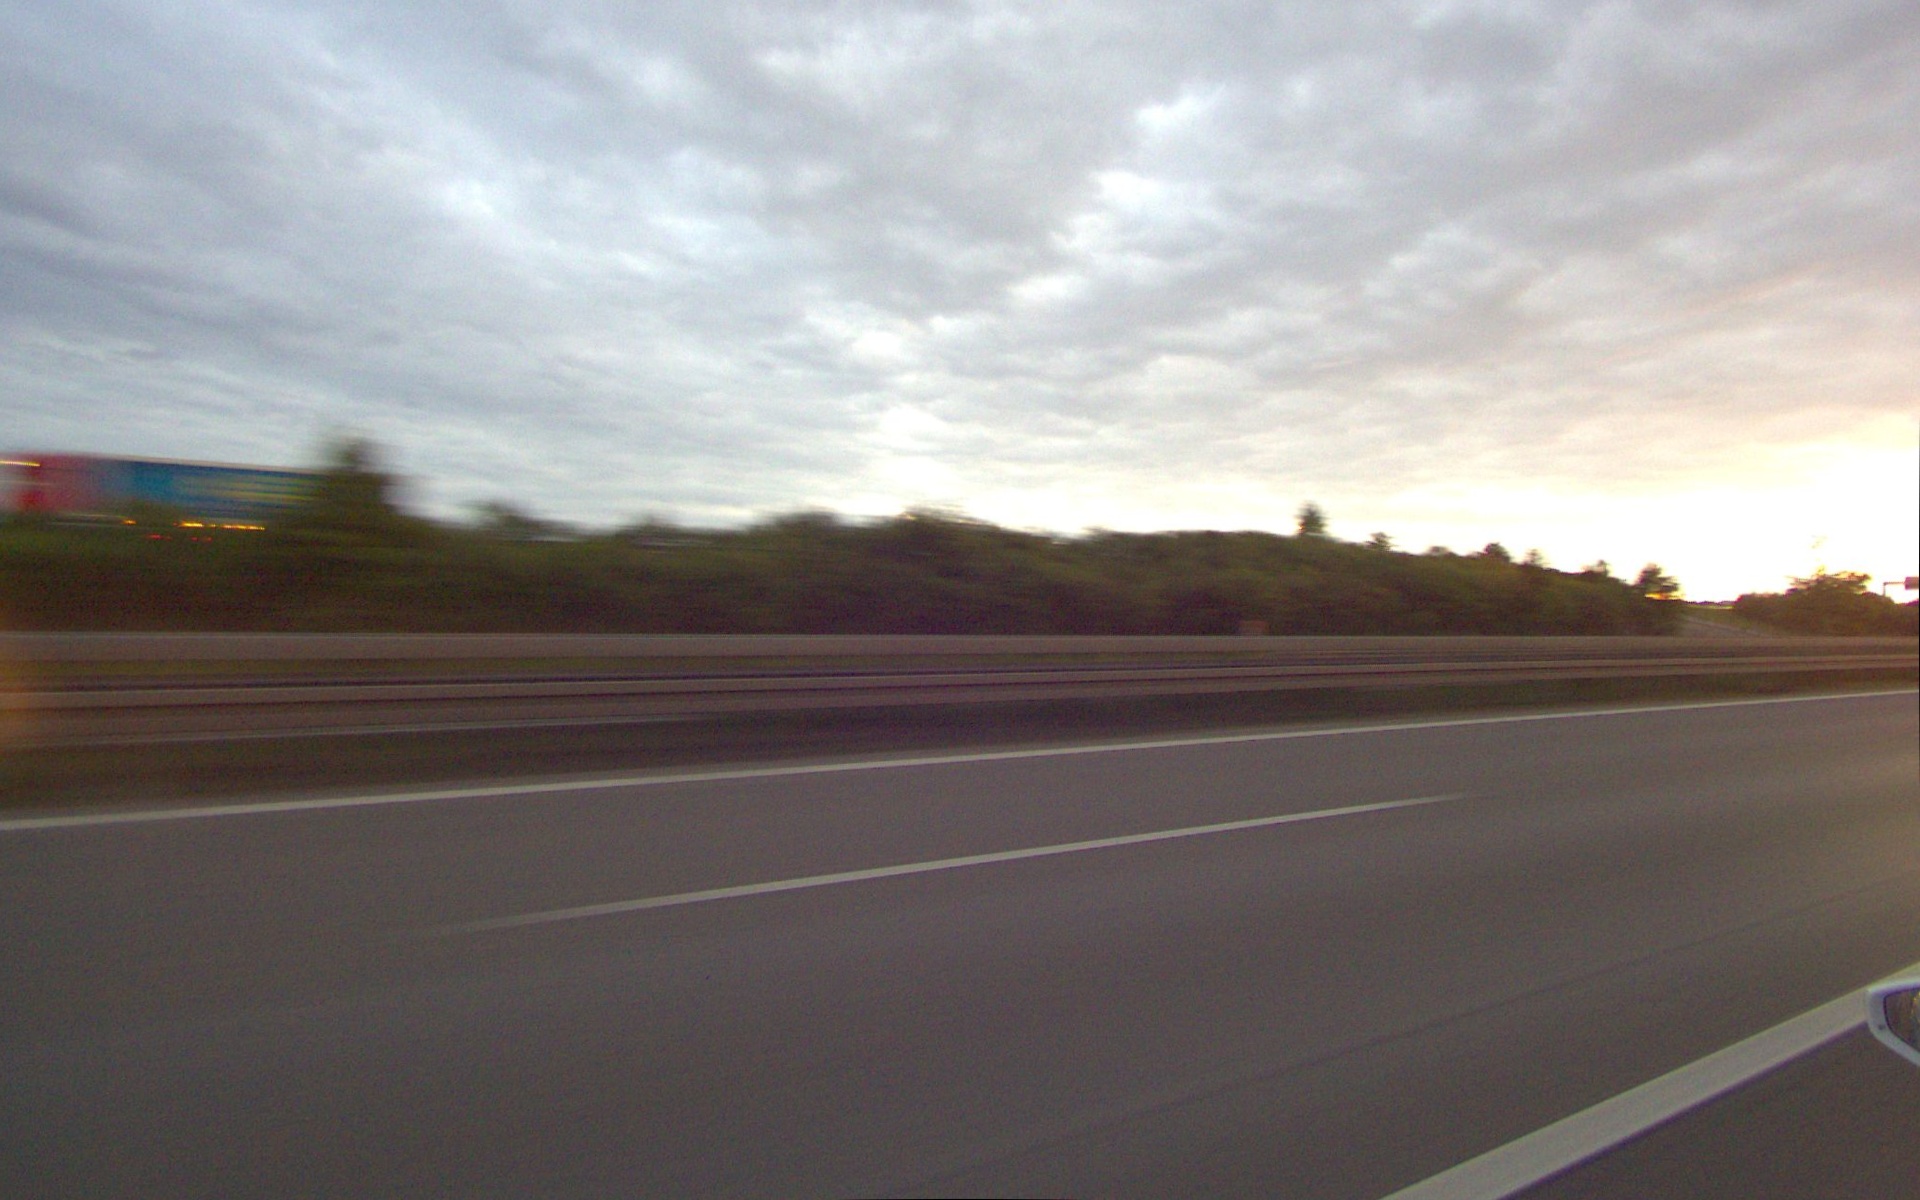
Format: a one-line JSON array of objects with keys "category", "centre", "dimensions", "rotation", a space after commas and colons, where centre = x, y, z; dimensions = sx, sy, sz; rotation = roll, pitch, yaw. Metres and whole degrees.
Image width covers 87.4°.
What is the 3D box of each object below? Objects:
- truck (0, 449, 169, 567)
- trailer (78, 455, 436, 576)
[{"category": "truck", "centre": [-34.993, -3.517, 39.855], "dimensions": [5.425, 4.125, 2.672], "rotation": [1, -1, -36]}, {"category": "trailer", "centre": [-29.860, -3.386, 43.611], "dimensions": [12.372, 4.125, 2.672], "rotation": [2, -1, -36]}]
